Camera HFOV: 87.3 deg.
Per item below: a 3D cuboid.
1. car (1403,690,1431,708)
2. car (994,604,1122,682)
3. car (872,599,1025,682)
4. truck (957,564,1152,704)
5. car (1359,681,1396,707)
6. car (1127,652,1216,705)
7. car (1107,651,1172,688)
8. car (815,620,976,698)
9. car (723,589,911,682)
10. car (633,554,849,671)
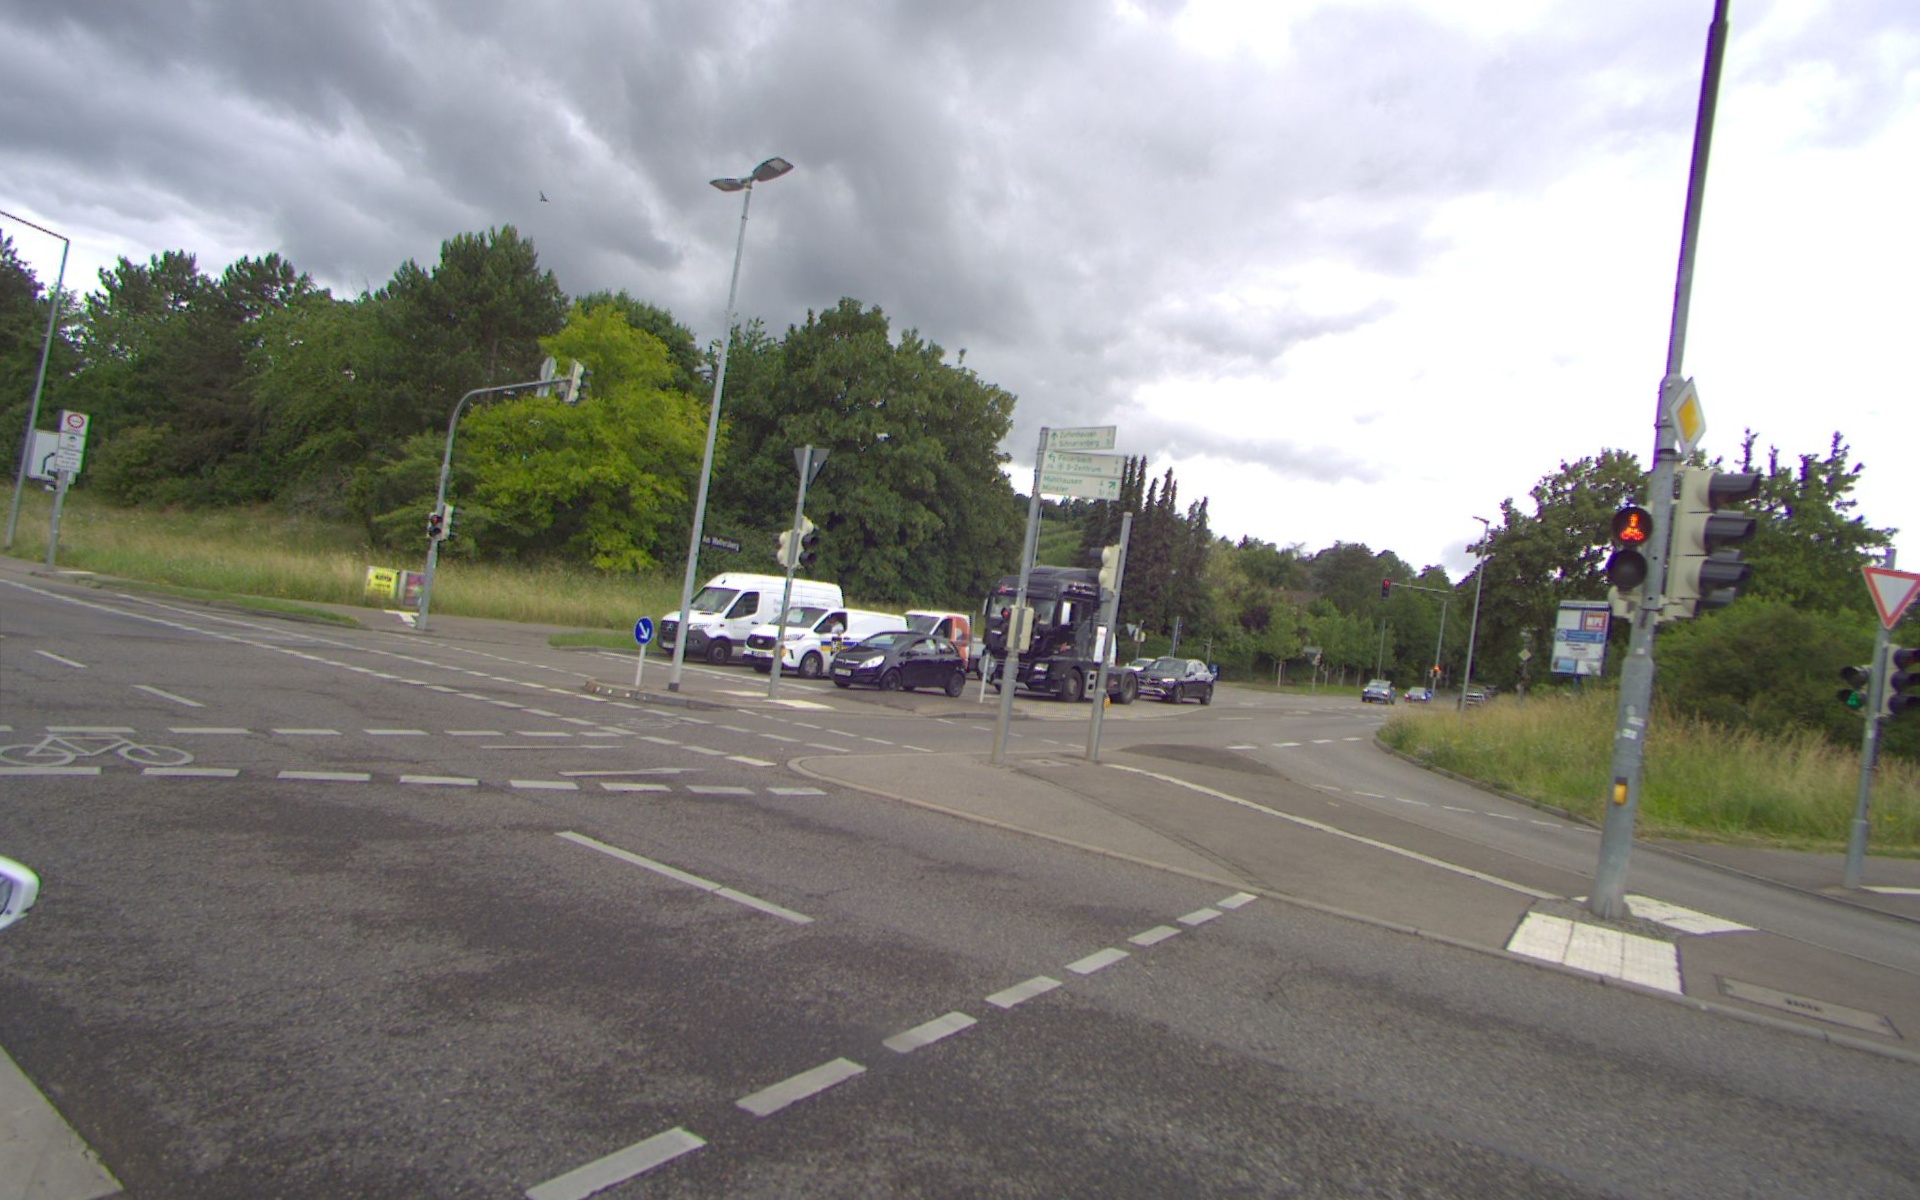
[{"bbox_3d":[41.876,9.078,92.173,1.610,1.308,3.858,6,-2,34],"label":"car"},{"bbox_3d":[4.364,1.944,43.451,2.194,2.751,6.668,5,-3,36],"label":"car"},{"bbox_3d":[-0.293,1.555,36.724,2.195,2.413,5.943,5,-3,37],"label":"car"},{"bbox_3d":[3.033,1.136,30.617,3.028,3.558,5.945,5,-2,36],"label":"truck"},{"bbox_3d":[30.358,6.825,73.028,1.610,1.594,3.858,6,-2,34],"label":"car"},{"bbox_3d":[7.789,2.901,36.846,1.724,1.594,3.858,6,-2,34],"label":"car"},{"bbox_3d":[8.882,3.445,49.608,1.626,1.473,3.858,6,-2,34],"label":"car"},{"bbox_3d":[-1.463,1.458,24.162,1.611,1.459,3.855,6,-2,37],"label":"car"},{"bbox_3d":[-3.731,1.023,27.218,2.088,2.013,4.977,4,-3,35],"label":"car"},{"bbox_3d":[-6.139,0.458,29.096,2.194,2.689,5.945,5,-3,36],"label":"car"}]
